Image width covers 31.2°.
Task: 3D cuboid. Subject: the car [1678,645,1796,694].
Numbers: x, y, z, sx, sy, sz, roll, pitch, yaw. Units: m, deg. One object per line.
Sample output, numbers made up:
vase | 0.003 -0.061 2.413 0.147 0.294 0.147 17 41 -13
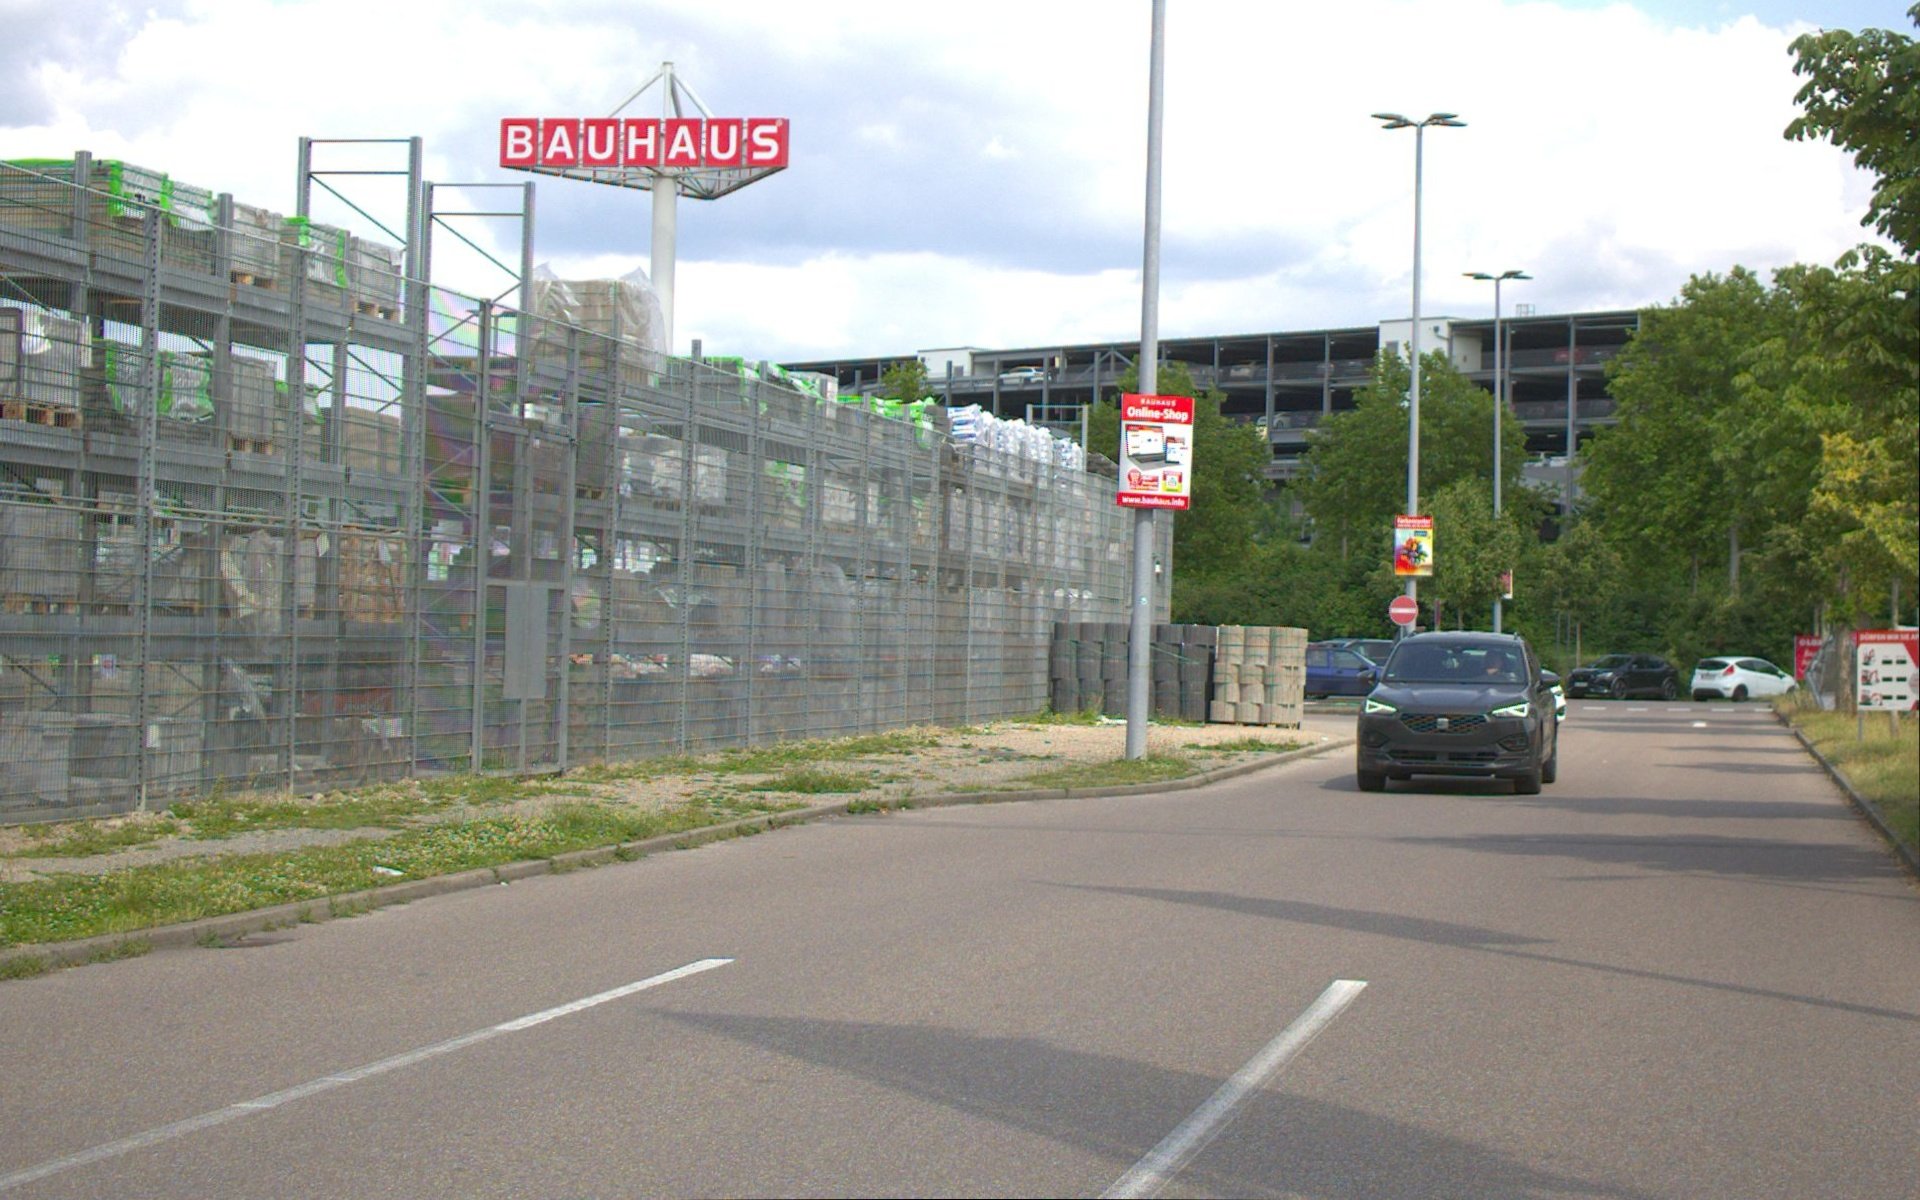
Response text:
car | 23.981 2.146 106.082 3.546 1.407 1.670 2 -1 -38

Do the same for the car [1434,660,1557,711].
car | 17.614 2.822 112.998 4.069 1.505 1.689 2 -6 -40

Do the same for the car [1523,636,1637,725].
car | 10.989 1.397 61.156 1.804 1.459 4.327 2 0 8

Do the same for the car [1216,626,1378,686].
car | 8.265 1.371 84.305 3.753 1.363 1.620 1 0 13

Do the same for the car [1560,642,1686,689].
car | 21.103 2.102 109.345 4.231 1.405 1.732 2 -1 -43

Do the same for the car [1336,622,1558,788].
car | 5.211 1.054 36.351 1.916 1.613 4.371 1 0 13
